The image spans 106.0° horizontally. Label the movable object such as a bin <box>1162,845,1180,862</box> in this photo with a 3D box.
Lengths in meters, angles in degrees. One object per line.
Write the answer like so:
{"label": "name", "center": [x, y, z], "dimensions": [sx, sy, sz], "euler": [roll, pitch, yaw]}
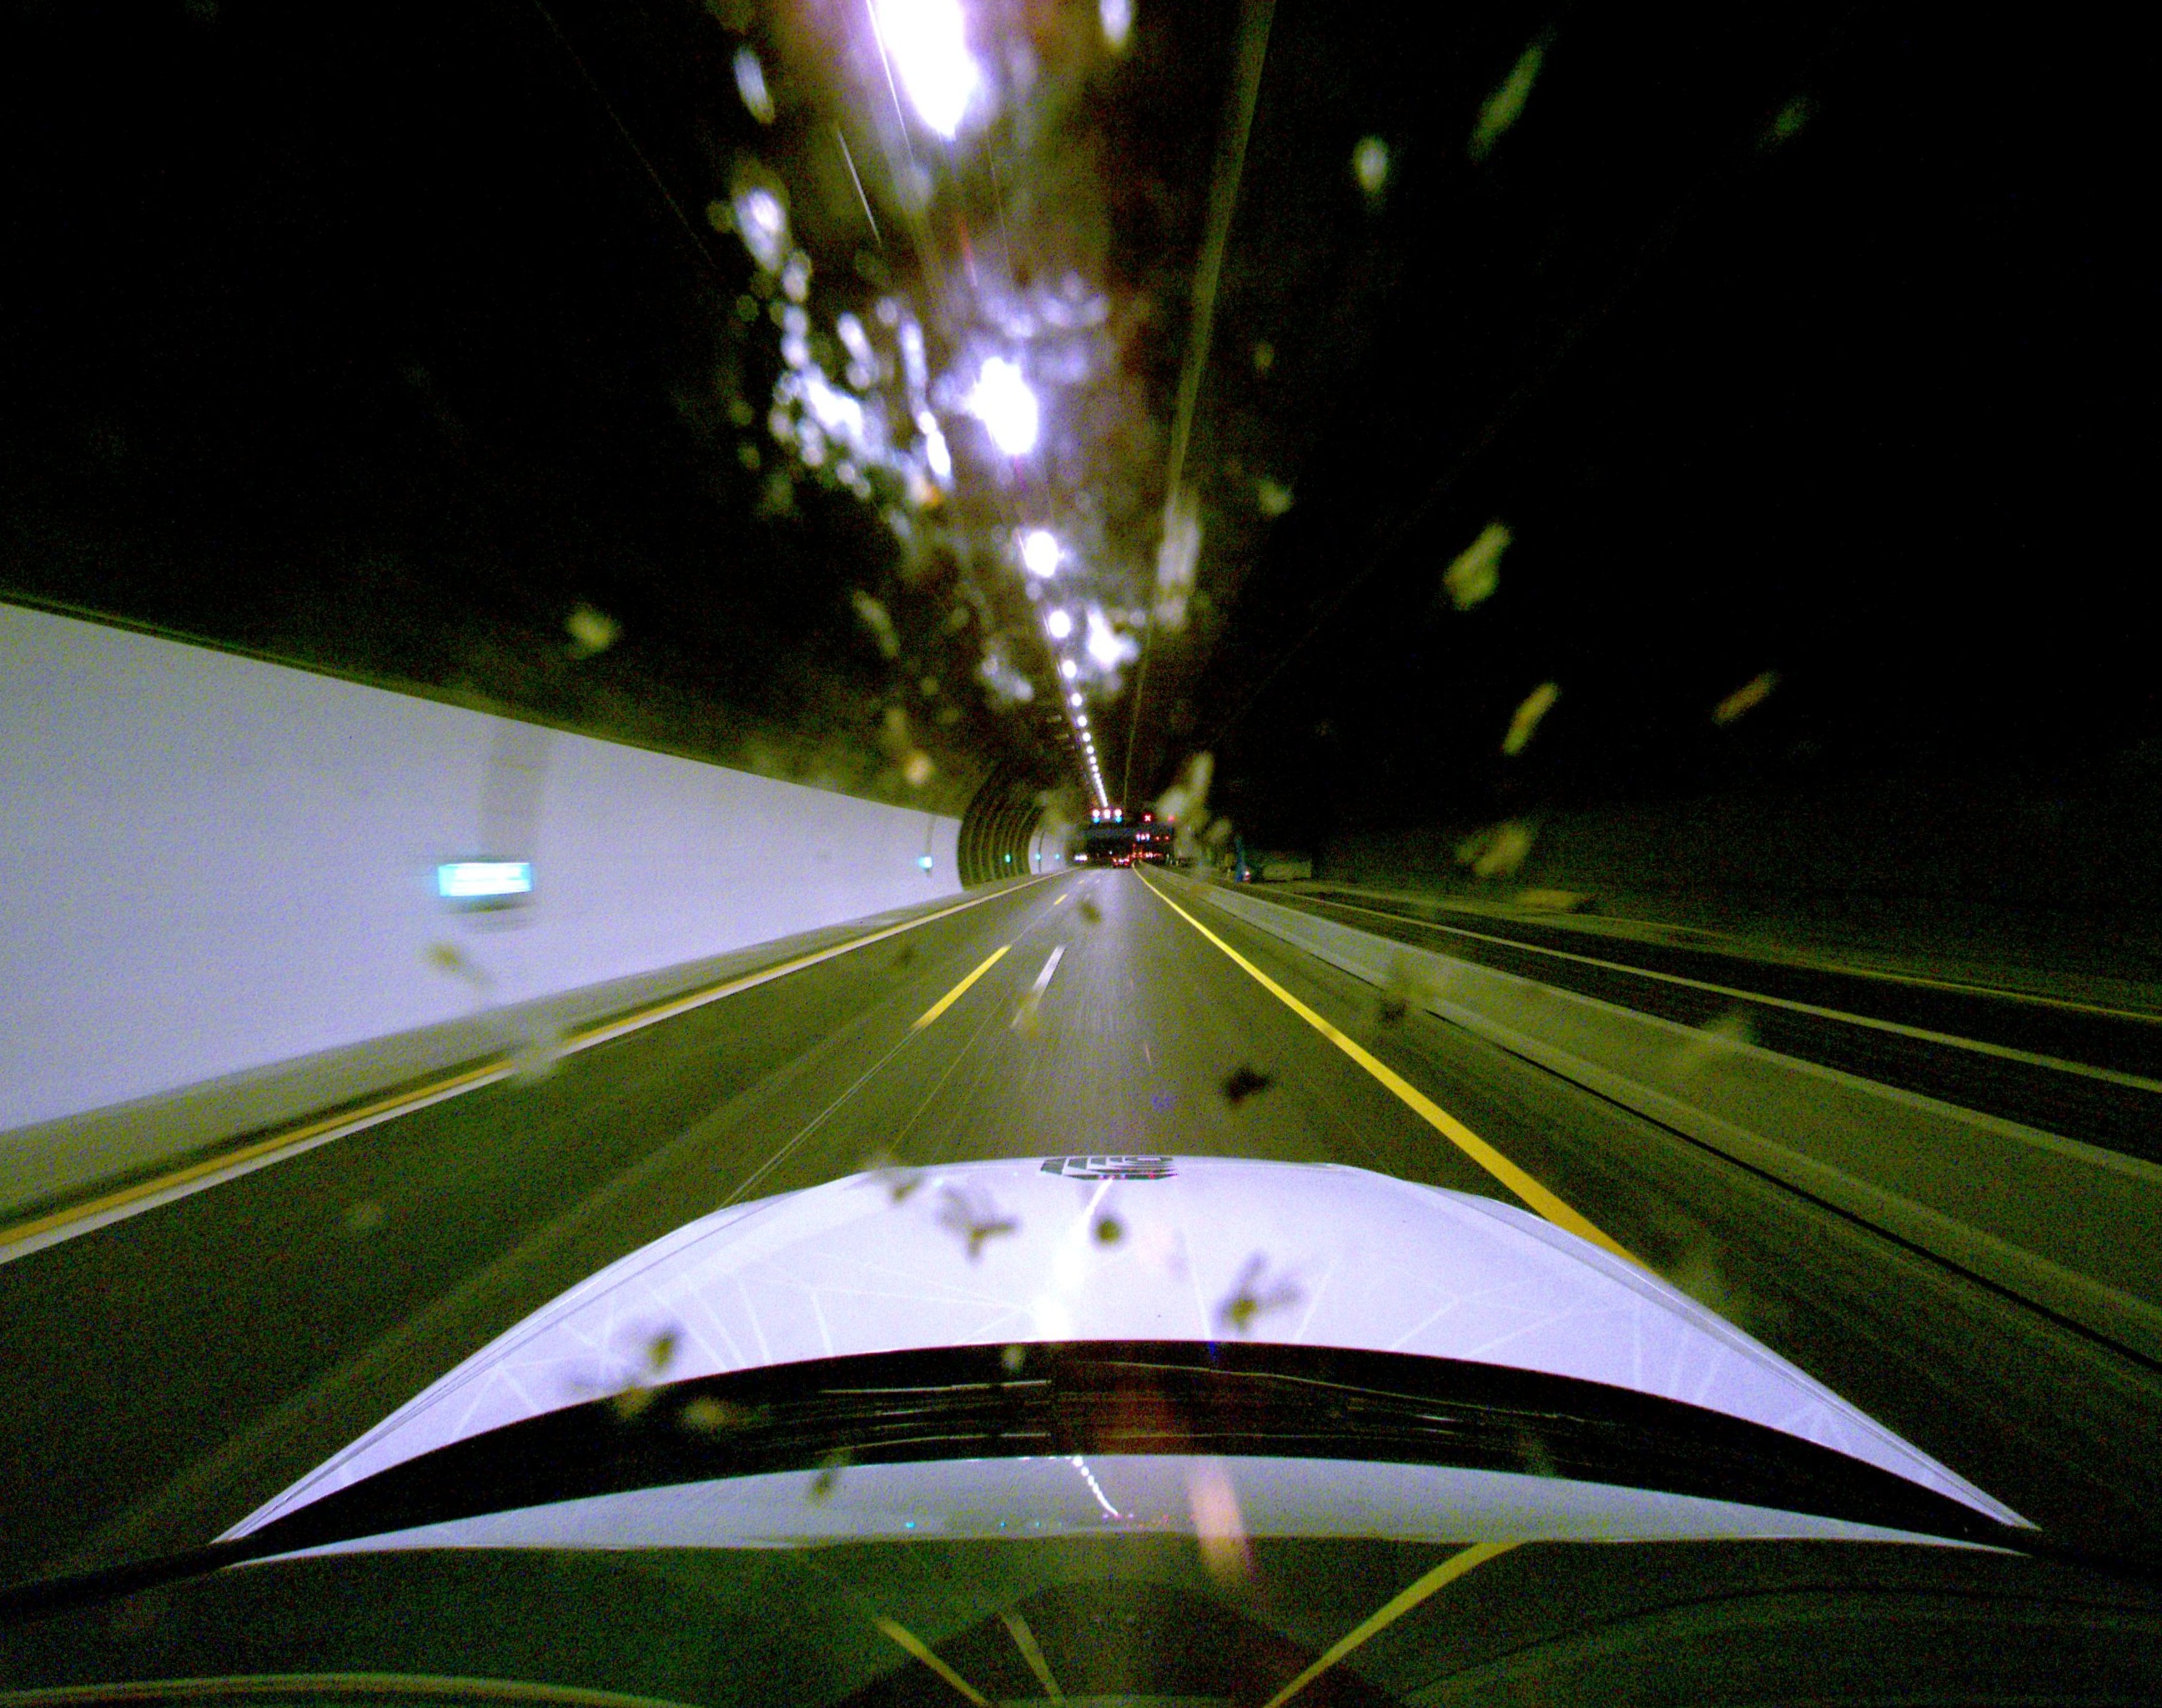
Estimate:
{"label": "movable object such as a bin", "center": [15.199, -0.008, 138.215], "dimensions": [2.725, 2.754, 7.057], "euler": [-1, 0, 4]}

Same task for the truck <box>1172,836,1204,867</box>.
{"label": "truck", "center": [12.042, -0.236, 92.396], "dimensions": [2.880, 3.272, 8.407], "euler": [-1, 0, 3]}

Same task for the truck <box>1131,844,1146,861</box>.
{"label": "truck", "center": [17.458, -0.490, 246.367], "dimensions": [4.526, 4.987, 9.609], "euler": [-1, 0, 4]}

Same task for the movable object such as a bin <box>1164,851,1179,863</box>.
{"label": "movable object such as a bin", "center": [13.929, 0.491, 125.542], "dimensions": [1.970, 1.816, 3.839], "euler": [-1, 0, 3]}

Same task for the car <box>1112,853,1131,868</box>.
{"label": "car", "center": [4.345, 0.697, 87.765], "dimensions": [1.882, 1.607, 3.999], "euler": [-1, 0, 0]}

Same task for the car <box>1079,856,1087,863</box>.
{"label": "car", "center": [0.576, 1.741, 243.721], "dimensions": [1.985, 2.014, 4.003], "euler": [-1, 0, 3]}

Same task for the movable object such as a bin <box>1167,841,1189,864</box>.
{"label": "movable object such as a bin", "center": [12.077, -0.171, 101.653], "dimensions": [2.229, 2.794, 7.238], "euler": [-1, 0, 3]}

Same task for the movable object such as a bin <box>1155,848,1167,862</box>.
{"label": "movable object such as a bin", "center": [19.330, 0.247, 196.690], "dimensions": [2.725, 3.455, 6.954], "euler": [-1, 0, 4]}

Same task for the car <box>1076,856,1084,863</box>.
{"label": "car", "center": [-0.366, 1.691, 233.649], "dimensions": [1.985, 2.014, 4.003], "euler": [-1, 0, 3]}

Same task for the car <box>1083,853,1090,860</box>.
{"label": "car", "center": [1.664, 0.778, 250.628], "dimensions": [1.985, 2.014, 4.003], "euler": [-1, 0, 3]}

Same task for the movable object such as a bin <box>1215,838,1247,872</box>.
{"label": "movable object such as a bin", "center": [11.600, 0.090, 63.252], "dimensions": [1.750, 2.380, 4.002], "euler": [-4, -1, 2]}
